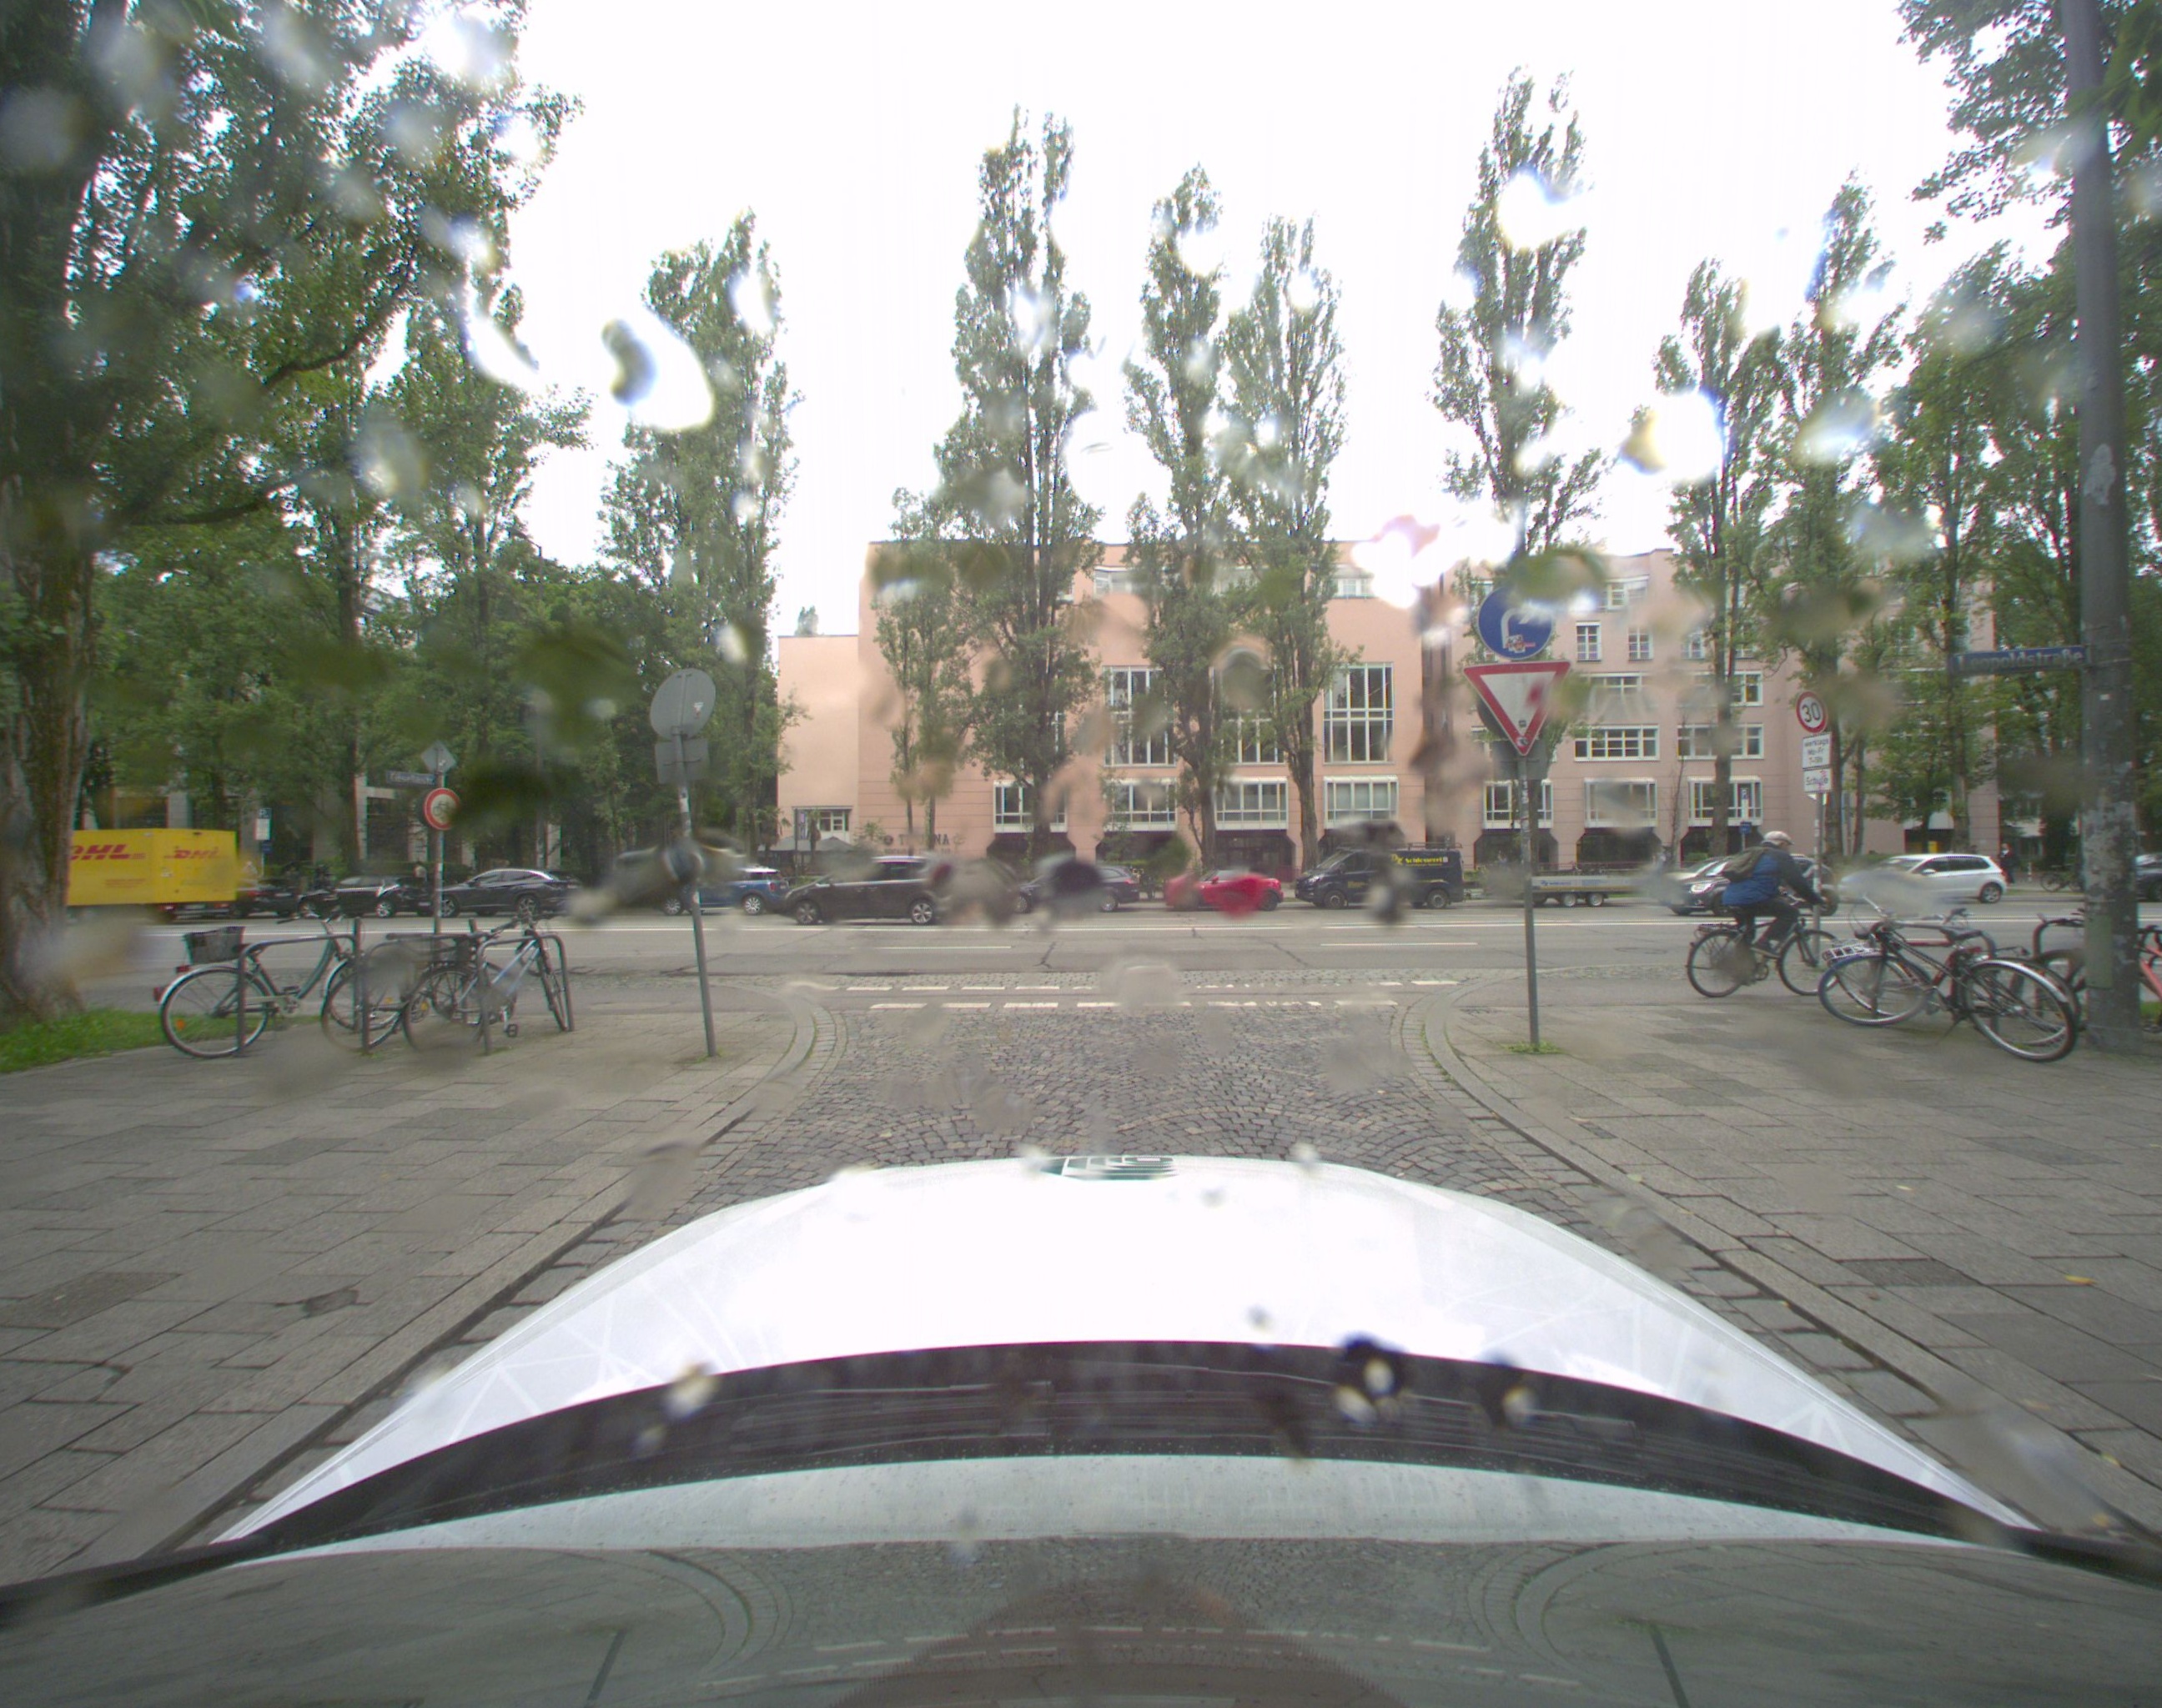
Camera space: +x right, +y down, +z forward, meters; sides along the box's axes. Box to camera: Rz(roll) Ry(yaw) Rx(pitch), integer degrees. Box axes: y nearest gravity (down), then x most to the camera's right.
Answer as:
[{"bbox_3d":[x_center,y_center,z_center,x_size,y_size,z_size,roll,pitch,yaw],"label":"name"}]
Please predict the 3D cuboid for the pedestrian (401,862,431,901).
[{"bbox_3d":[-29.609,1.226,36.269,0.726,1.713,0.710,-1,-1,2],"label":"pedestrian"}]

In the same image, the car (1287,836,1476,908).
[{"bbox_3d":[9.730,0.565,26.714,5.458,2.197,2.024,-1,0,1],"label":"car"}]

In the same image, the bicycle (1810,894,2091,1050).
[{"bbox_3d":[7.266,0.917,6.959,0.472,1.050,1.878,-1,0,3],"label":"bicycle"}]

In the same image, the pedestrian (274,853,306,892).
[{"bbox_3d":[-36.173,0.837,37.240,0.726,1.713,0.710,-2,-1,2],"label":"pedestrian"}]

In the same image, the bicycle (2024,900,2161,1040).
[{"bbox_3d":[8.592,0.914,6.300,0.472,1.050,1.878,-1,-2,3],"label":"bicycle"}]

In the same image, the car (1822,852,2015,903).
[{"bbox_3d":[26.984,0.738,26.338,4.299,1.542,1.998,-1,0,-2],"label":"car"}]

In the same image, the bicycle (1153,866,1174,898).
[{"bbox_3d":[3.148,1.054,31.139,0.671,1.124,1.743,-1,0,3],"label":"bicycle"}]

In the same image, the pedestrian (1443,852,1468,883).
[{"bbox_3d":[16.852,0.612,36.606,0.711,1.369,0.725,0,-1,-27],"label":"pedestrian"}]

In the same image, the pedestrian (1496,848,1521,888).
[{"bbox_3d":[18.335,0.596,34.946,0.726,1.713,0.710,-1,-1,2],"label":"pedestrian"}]

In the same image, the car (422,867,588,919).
[{"bbox_3d":[-18.986,1.262,26.959,4.207,1.601,1.794,-1,0,1],"label":"car"}]

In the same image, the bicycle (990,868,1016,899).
[{"bbox_3d":[-2.985,1.116,31.343,0.671,1.124,1.990,-1,0,3],"label":"bicycle"}]

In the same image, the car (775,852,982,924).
[{"bbox_3d":[-5.120,0.864,21.058,4.781,1.722,2.001,-1,-2,2],"label":"car"}]

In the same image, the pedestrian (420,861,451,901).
[{"bbox_3d":[-27.667,1.149,34.901,0.726,1.713,0.710,-1,-1,2],"label":"pedestrian"}]

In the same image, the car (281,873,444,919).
[{"bbox_3d":[-23.854,1.366,27.130,3.854,1.412,1.794,-1,0,1],"label":"car"}]

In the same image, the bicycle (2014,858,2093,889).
[{"bbox_3d":[36.656,0.724,30.740,0.671,1.124,1.990,-1,0,3],"label":"bicycle"}]

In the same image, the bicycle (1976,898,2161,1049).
[{"bbox_3d":[8.096,0.895,6.239,0.472,1.050,1.878,-1,-2,3],"label":"bicycle"}]

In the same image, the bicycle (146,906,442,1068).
[{"bbox_3d":[-6.705,1.065,7.117,0.487,1.093,1.988,-1,0,7],"label":"bicycle"}]

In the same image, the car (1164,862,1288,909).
[{"bbox_3d":[4.679,1.004,26.628,3.843,1.449,1.680,-1,0,4],"label":"car"}]

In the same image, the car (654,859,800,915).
[{"bbox_3d":[-11.712,1.082,27.127,4.051,1.732,1.793,-1,-2,0],"label":"car"}]

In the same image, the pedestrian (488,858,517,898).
[{"bbox_3d":[-25.333,1.040,35.667,0.726,1.713,0.710,-1,-1,2],"label":"pedestrian"}]

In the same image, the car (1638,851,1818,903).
[{"bbox_3d":[20.628,0.736,26.104,4.202,1.542,1.808,-1,-2,3],"label":"car"}]

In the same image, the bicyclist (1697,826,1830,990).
[{"bbox_3d":[7.025,0.534,8.417,0.751,1.619,0.725,-1,0,2],"label":"bicyclist"}]

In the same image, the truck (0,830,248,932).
[{"bbox_3d":[-30.225,0.808,24.862,7.029,2.908,2.603,-1,-1,2],"label":"truck"}]

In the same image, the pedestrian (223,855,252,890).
[{"bbox_3d":[-42.136,0.903,40.691,0.726,1.713,0.710,-1,-1,2],"label":"pedestrian"}]

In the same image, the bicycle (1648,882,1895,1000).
[{"bbox_3d":[7.118,0.881,8.476,1.886,1.148,0.719,0,-4,3],"label":"bicycle"}]

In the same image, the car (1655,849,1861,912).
[{"bbox_3d":[17.265,0.674,20.924,3.725,1.527,1.850,0,-1,2],"label":"car"}]

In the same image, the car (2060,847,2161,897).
[{"bbox_3d":[35.017,0.533,26.300,4.293,1.542,2.001,-1,0,2],"label":"car"}]

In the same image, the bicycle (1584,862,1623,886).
[{"bbox_3d":[25.425,0.951,39.651,0.671,1.124,1.990,-1,0,3],"label":"bicycle"}]

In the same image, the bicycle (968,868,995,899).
[{"bbox_3d":[-3.812,1.131,31.391,0.671,1.124,1.990,-1,0,3],"label":"bicycle"}]

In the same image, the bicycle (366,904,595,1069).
[{"bbox_3d":[-4.871,1.014,6.762,0.487,1.093,1.706,-1,0,7],"label":"bicycle"}]

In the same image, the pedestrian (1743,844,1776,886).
[{"bbox_3d":[28.160,0.464,33.806,0.726,1.713,0.710,-1,-1,2],"label":"pedestrian"}]

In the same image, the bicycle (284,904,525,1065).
[{"bbox_3d":[-5.643,1.026,6.939,0.487,1.093,1.706,-1,0,7],"label":"bicycle"}]

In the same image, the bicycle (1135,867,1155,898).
[{"bbox_3d":[2.427,1.071,31.136,0.671,1.124,1.743,-1,0,3],"label":"bicycle"}]

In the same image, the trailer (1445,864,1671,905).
[{"bbox_3d":[15.434,0.977,26.666,5.994,1.199,2.406,-1,0,2],"label":"trailer"}]

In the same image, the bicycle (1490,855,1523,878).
[{"bbox_3d":[20.890,0.606,40.014,0.671,1.124,1.990,-1,0,3],"label":"bicycle"}]

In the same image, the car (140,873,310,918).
[{"bbox_3d":[-28.714,1.370,27.395,3.854,1.412,1.794,-1,0,1],"label":"car"}]

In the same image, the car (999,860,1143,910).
[{"bbox_3d":[-0.291,1.000,26.949,4.591,1.529,1.794,-1,0,1],"label":"car"}]

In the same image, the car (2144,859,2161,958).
[{"bbox_3d":[17.735,0.784,10.914,4.412,1.427,1.759,0,1,5],"label":"car"}]

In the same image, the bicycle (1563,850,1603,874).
[{"bbox_3d":[24.335,0.387,39.506,0.671,1.124,2.108,-1,0,3],"label":"bicycle"}]

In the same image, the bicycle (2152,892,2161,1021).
[{"bbox_3d":[9.552,0.867,6.103,0.510,1.105,1.931,-1,-1,2],"label":"bicycle"}]

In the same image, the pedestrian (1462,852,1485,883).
[{"bbox_3d":[17.679,0.599,36.694,0.726,1.369,0.710,-1,-1,2],"label":"pedestrian"}]

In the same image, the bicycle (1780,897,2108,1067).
[{"bbox_3d":[6.565,0.898,6.371,0.473,1.050,1.874,-1,-1,-3],"label":"bicycle"}]
